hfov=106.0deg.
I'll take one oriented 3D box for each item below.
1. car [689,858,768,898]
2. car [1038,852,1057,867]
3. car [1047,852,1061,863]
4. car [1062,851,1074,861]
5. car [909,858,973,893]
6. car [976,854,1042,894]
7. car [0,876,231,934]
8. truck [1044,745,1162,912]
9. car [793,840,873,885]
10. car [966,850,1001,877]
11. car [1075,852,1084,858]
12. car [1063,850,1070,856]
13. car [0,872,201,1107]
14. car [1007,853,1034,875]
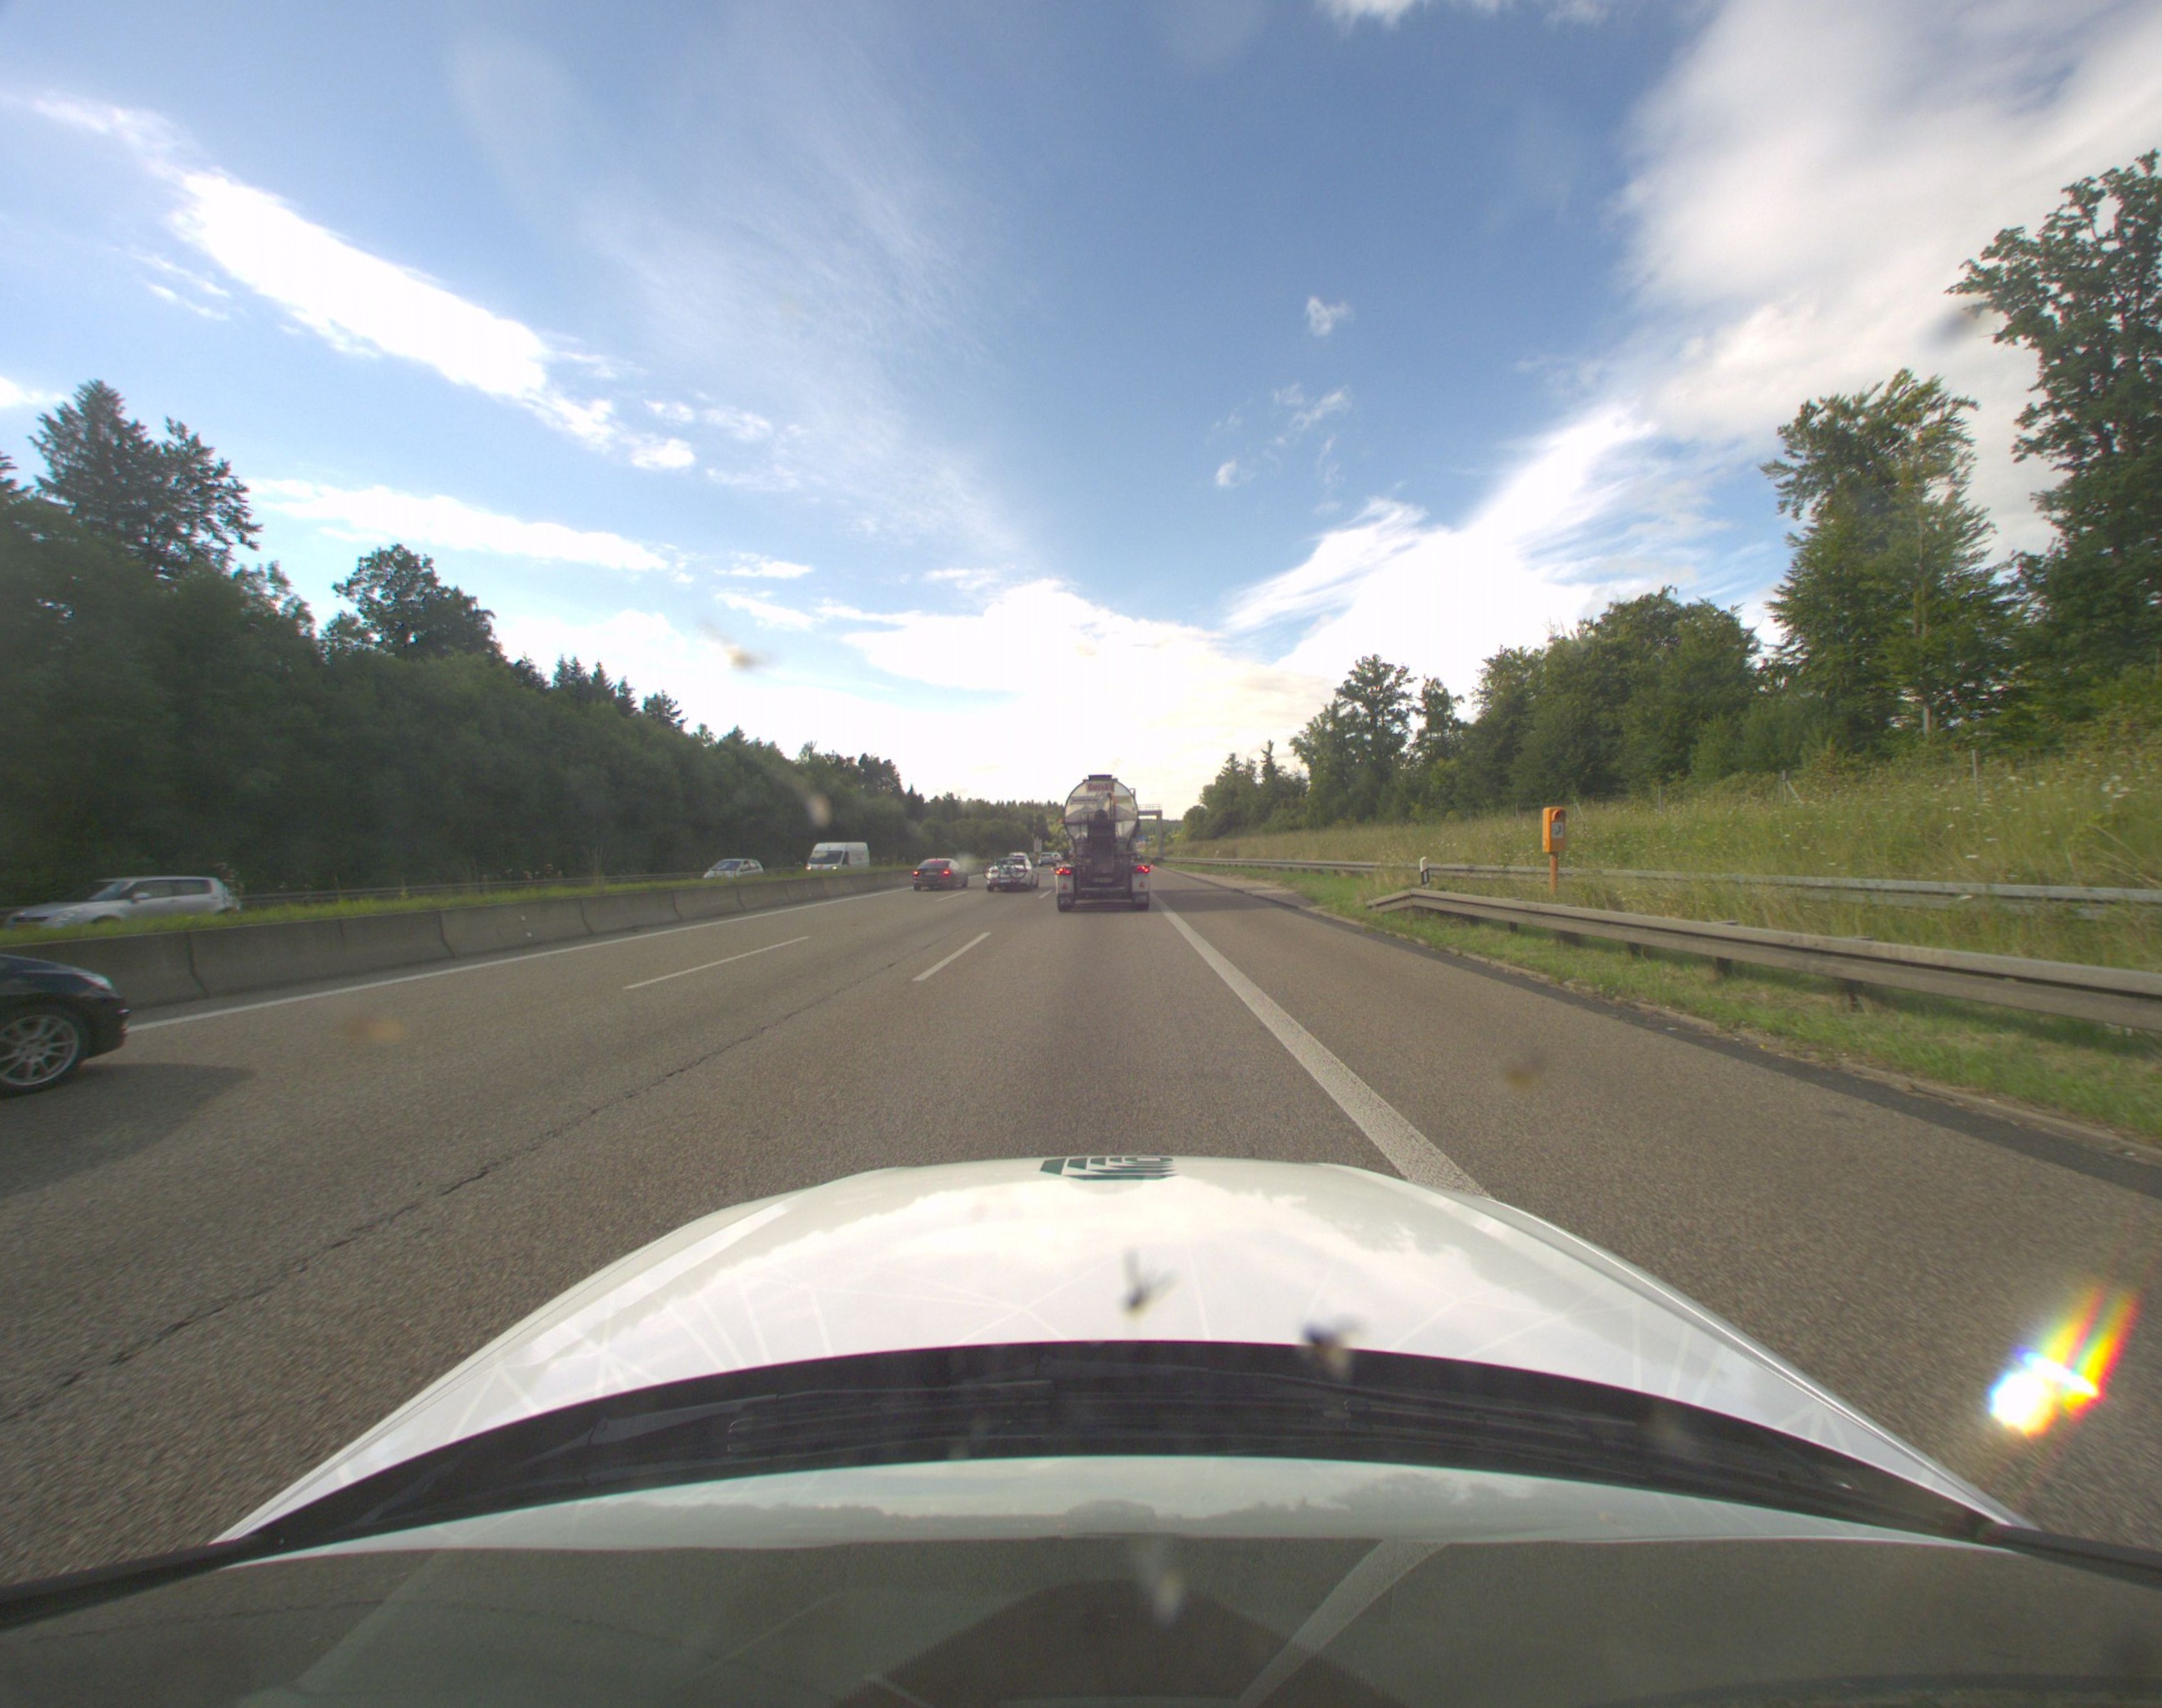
[{"bbox_3d":[-17.807,1.166,41.406,1.917,1.805,4.495,-1,0,2],"label":"car"},{"bbox_3d":[-3.802,0.581,93.063,1.800,1.585,4.209,-1,1,2],"label":"car"},{"bbox_3d":[-3.965,0.496,118.635,1.800,1.585,4.209,-1,1,2],"label":"car"},{"bbox_3d":[-2.178,0.379,137.952,1.935,1.585,4.209,-1,1,2],"label":"car"},{"bbox_3d":[-6.264,0.917,37.003,1.849,1.431,4.843,-1,0,2],"label":"car"},{"bbox_3d":[-2.947,0.775,34.723,2.052,1.499,5.739,-1,0,2],"label":"car"},{"bbox_3d":[-22.110,1.129,18.790,1.585,1.094,3.175,-1,0,2],"label":"car"},{"bbox_3d":[0.784,-0.659,26.251,2.901,4.157,11.276,-1,0,2],"label":"truck"},{"bbox_3d":[-14.243,0.458,47.225,2.569,2.346,5.832,-1,0,2],"label":"car"},{"bbox_3d":[-6.750,0.655,56.734,1.839,1.783,4.001,-1,0,1],"label":"car"},{"bbox_3d":[-0.391,0.222,182.271,1.935,1.456,4.209,-1,1,2],"label":"car"},{"bbox_3d":[-4.479,-0.314,249.475,1.986,2.013,4.073,-1,0,1],"label":"car"},{"bbox_3d":[-8.071,0.925,4.391,1.828,1.517,4.335,-1,0,2],"label":"car"},{"bbox_3d":[-4.386,0.738,59.795,1.612,1.544,3.521,-1,0,2],"label":"car"}]
